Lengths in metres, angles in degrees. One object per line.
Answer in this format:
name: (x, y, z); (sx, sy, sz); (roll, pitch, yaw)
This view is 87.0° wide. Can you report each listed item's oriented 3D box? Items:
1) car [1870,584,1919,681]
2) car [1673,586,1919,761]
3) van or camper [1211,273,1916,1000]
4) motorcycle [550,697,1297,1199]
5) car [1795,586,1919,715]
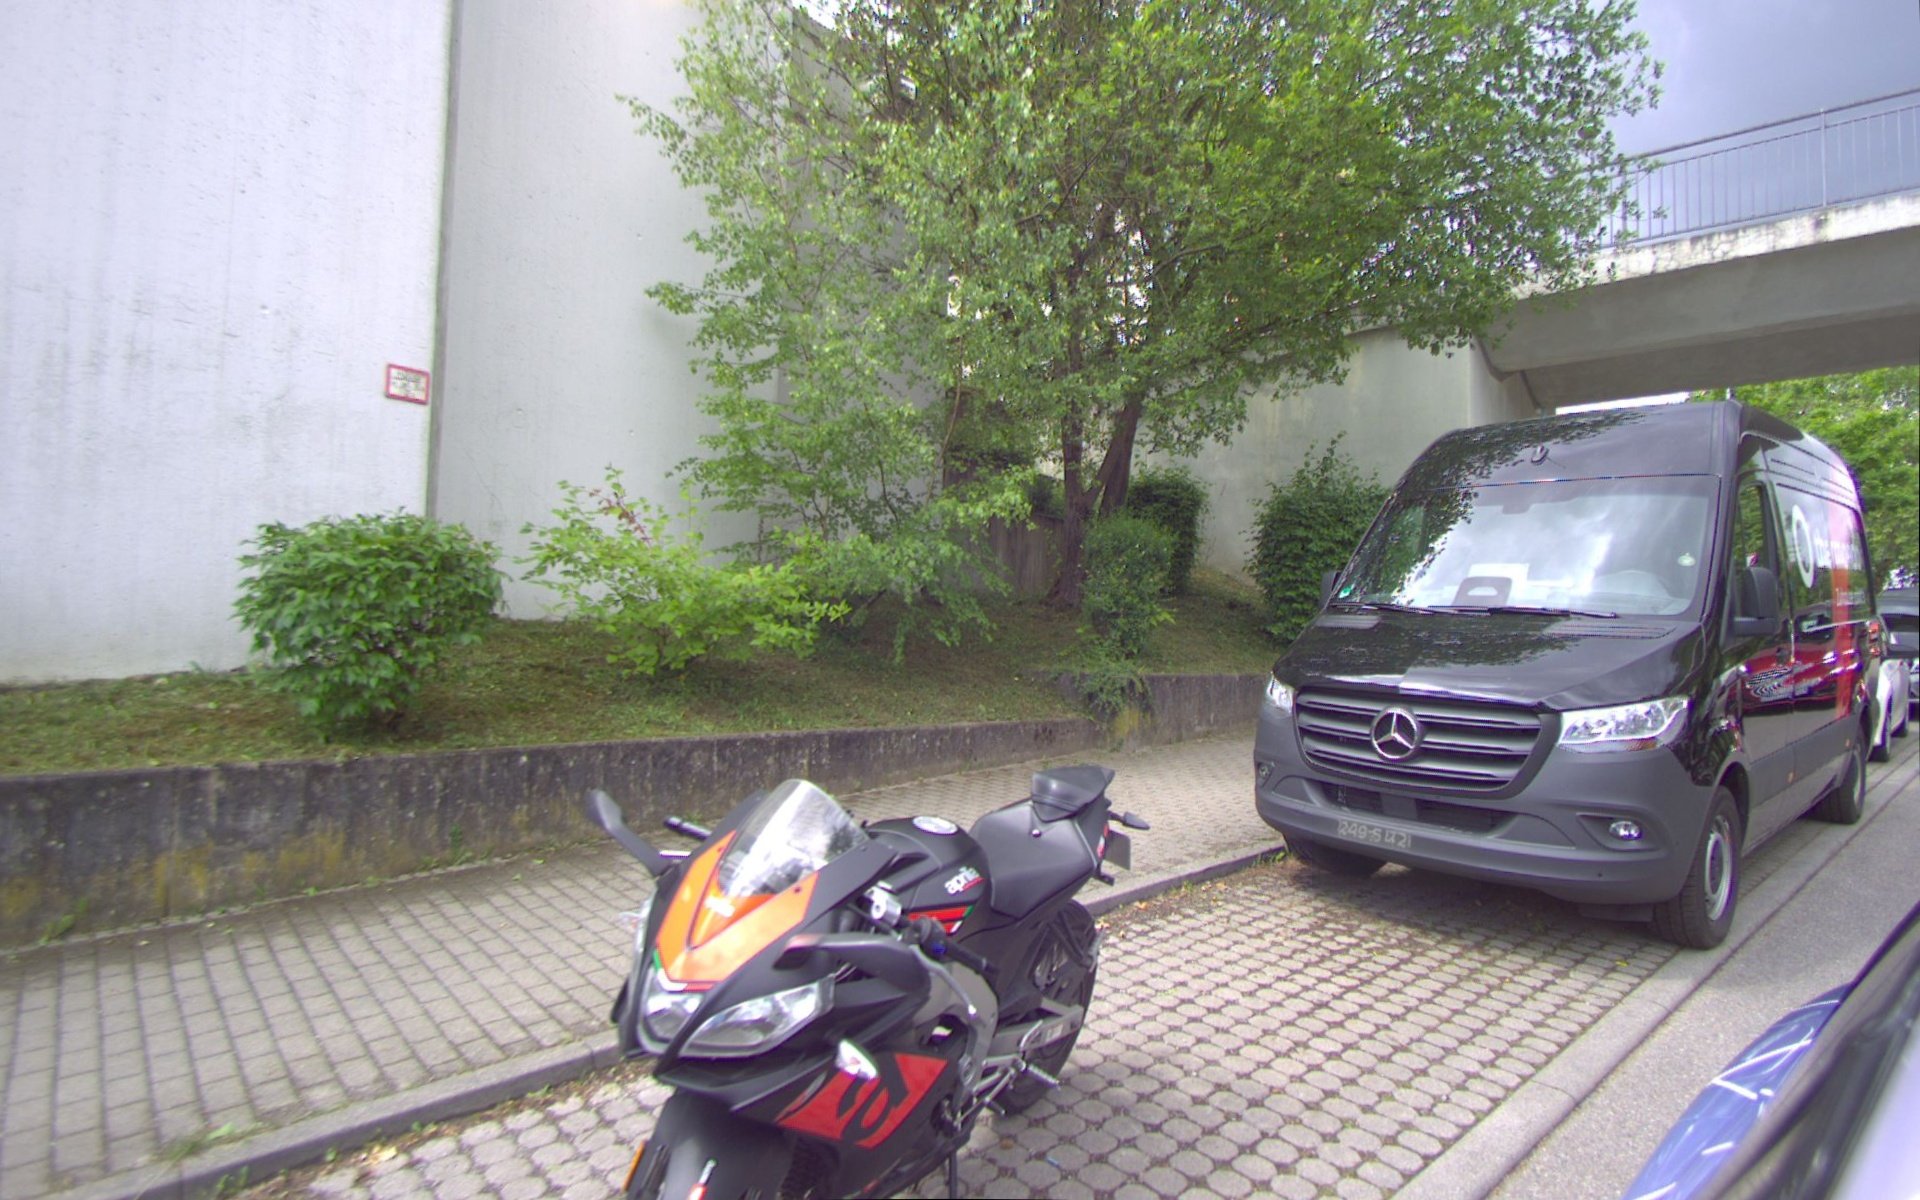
car: (17.016, 0.502, 17.387); (3.657, 1.562, 1.603); (-1, 1, -41)
car: (8.803, 0.604, 10.398); (3.657, 1.468, 1.585); (-1, 1, -41)
van or camper: (4.033, 0.084, 6.131); (5.657, 2.526, 1.997); (-1, 1, -41)
motorcycle: (0.120, 0.874, 2.350); (0.706, 1.081, 1.905); (0, 1, 37)
car: (12.476, 0.578, 13.394); (3.657, 1.506, 1.603); (-1, 1, -41)
